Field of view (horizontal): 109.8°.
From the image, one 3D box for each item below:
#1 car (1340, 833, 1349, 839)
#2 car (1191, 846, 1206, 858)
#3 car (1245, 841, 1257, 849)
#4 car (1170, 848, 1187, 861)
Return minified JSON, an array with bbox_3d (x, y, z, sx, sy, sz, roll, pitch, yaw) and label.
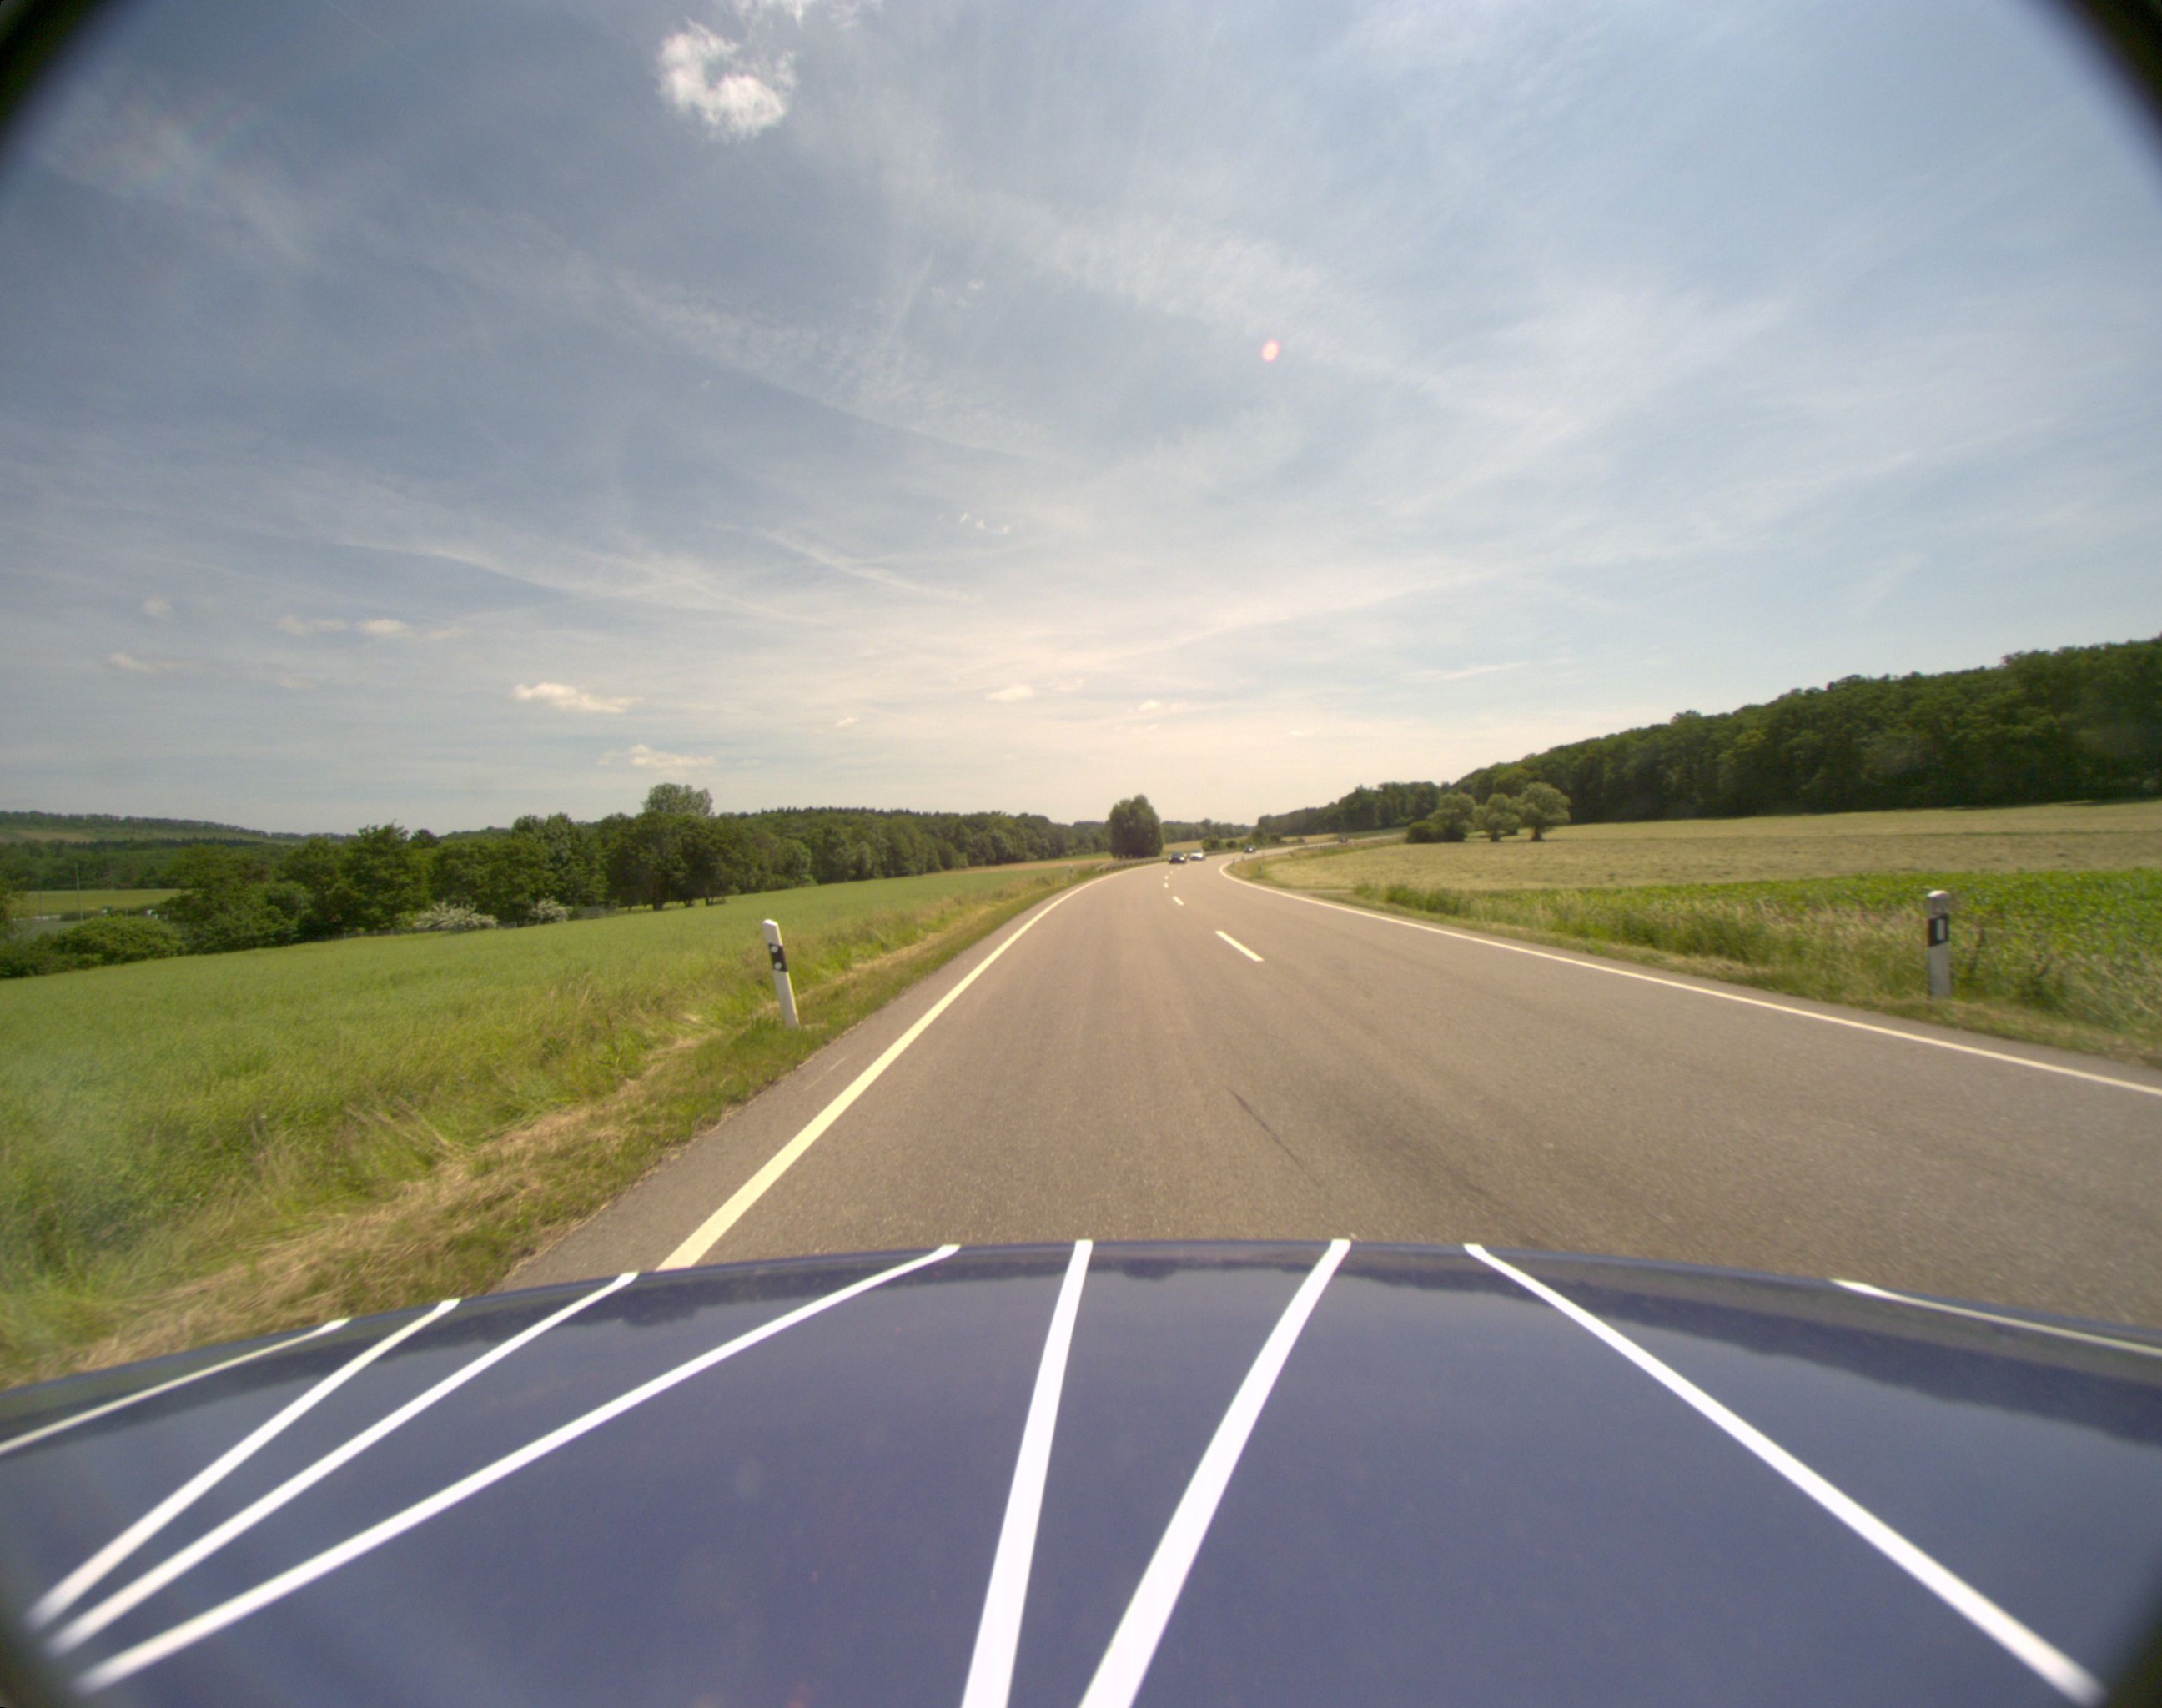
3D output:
[{"bbox_3d":[76.110,-5.141,219.633,1.618,1.429,3.448,-1,3,34],"label":"car"},{"bbox_3d":[16.769,-0.282,108.258,1.620,1.429,3.445,-2,2,15],"label":"car"},{"bbox_3d":[33.579,-1.825,149.941,1.619,1.429,3.447,-1,2,23],"label":"car"},{"bbox_3d":[11.650,0.070,90.519,1.620,1.428,3.446,-2,1,12],"label":"car"}]
